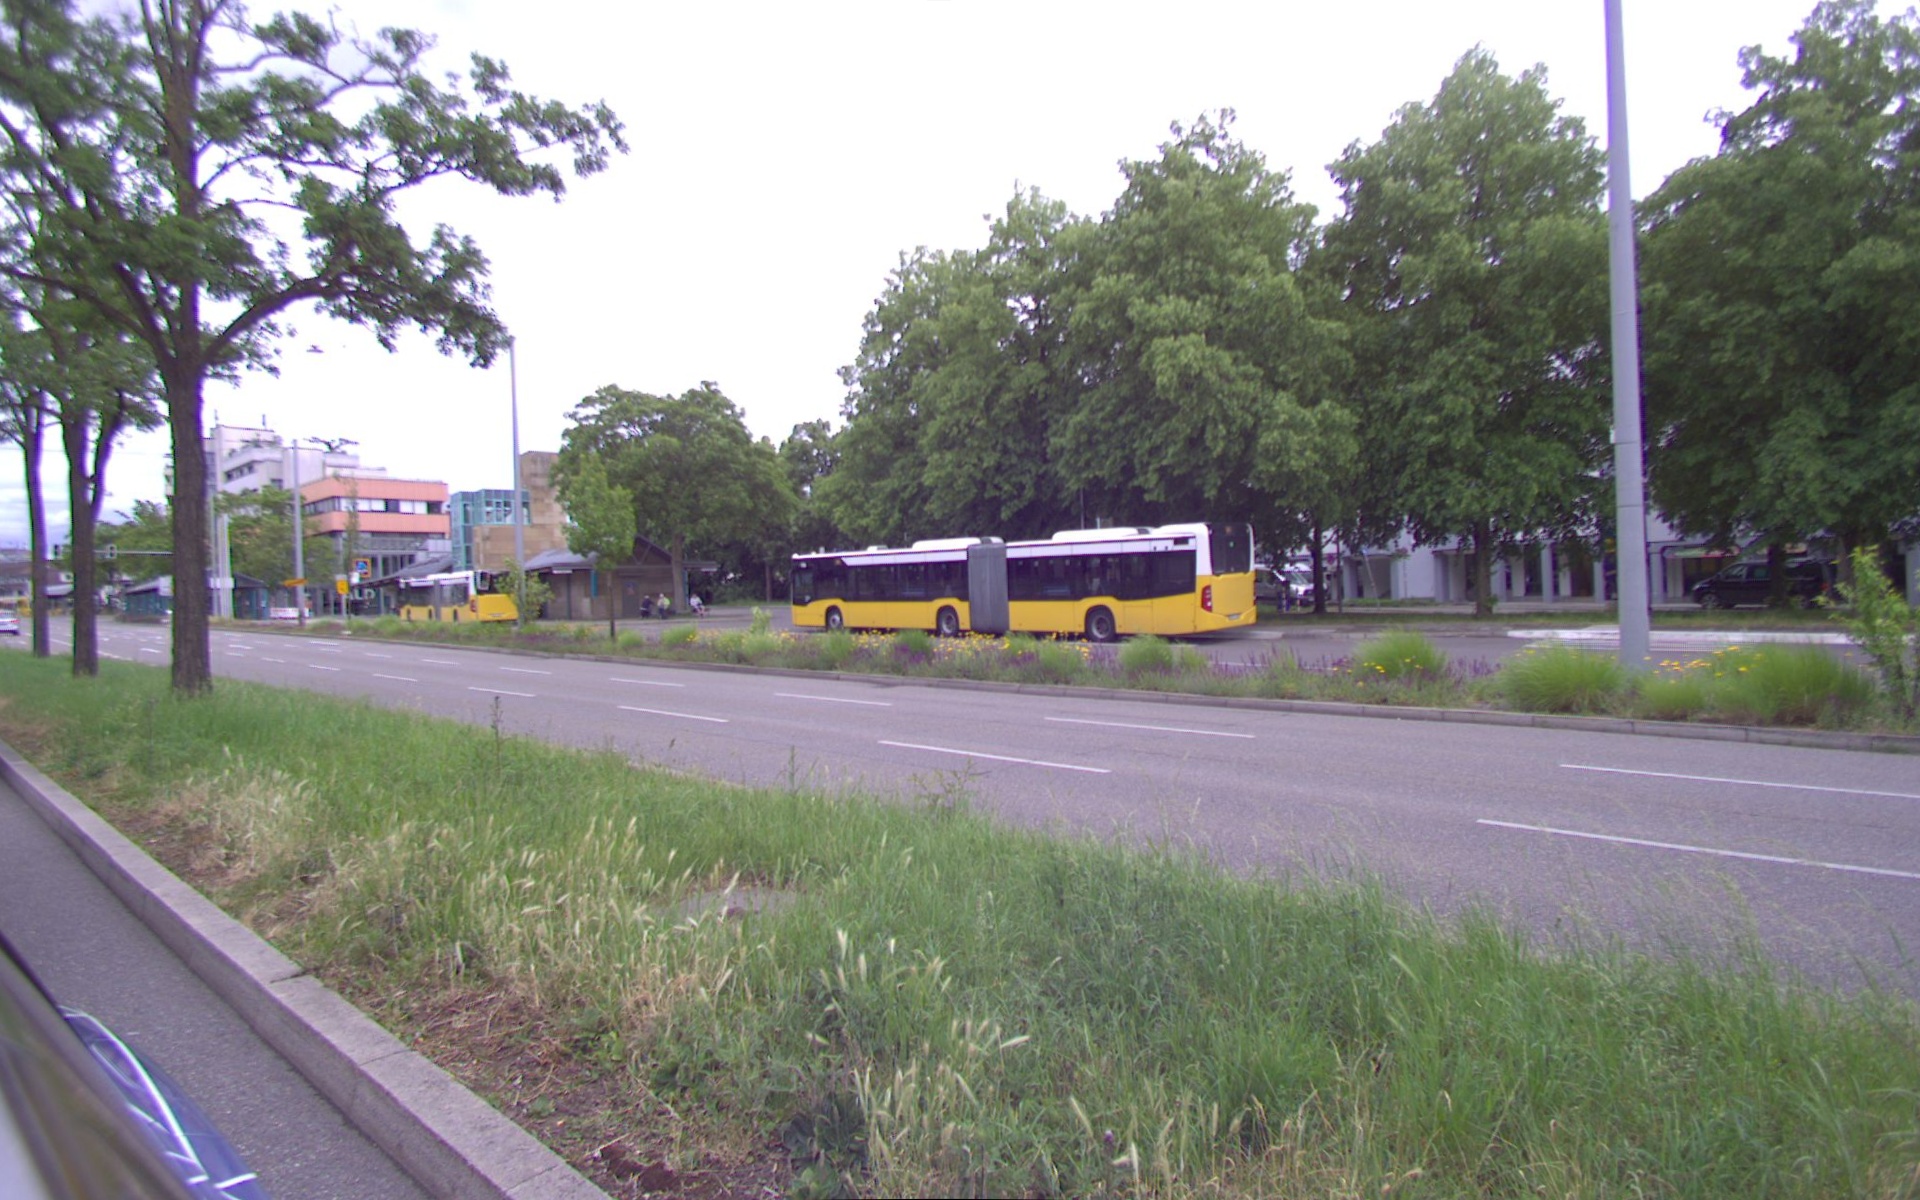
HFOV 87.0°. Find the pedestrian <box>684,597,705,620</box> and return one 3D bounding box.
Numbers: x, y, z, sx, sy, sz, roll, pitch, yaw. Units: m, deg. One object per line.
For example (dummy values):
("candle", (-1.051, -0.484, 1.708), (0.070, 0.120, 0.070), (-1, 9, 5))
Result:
("pedestrian", (-13.912, 0.451, 53.031), (0.924, 1.180, 0.641), (-1, 0, 41))

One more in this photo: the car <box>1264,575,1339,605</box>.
("car", (20.025, -0.582, 59.479), (1.751, 1.652, 4.012), (-1, 0, -31))

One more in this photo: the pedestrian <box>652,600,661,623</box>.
("pedestrian", (-15.659, 0.609, 52.204), (0.361, 1.175, 0.900), (-1, 0, -23))

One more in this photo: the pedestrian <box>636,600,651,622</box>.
("pedestrian", (-16.869, 0.567, 53.940), (0.589, 1.171, 0.745), (-1, 0, -30))

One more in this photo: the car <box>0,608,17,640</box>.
("car", (-61.894, 1.563, 65.010), (4.001, 2.029, 1.703), (-1, 0, 44))

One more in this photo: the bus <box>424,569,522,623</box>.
("bus", (-27.667, -0.153, 57.247), (2.846, 2.830, 9.191), (-1, 0, -40))

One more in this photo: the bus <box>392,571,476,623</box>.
("bus", (-33.362, -0.146, 63.921), (2.846, 3.025, 9.191), (-1, 0, -39))

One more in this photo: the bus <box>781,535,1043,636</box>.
("bus", (-2.007, -0.377, 34.870), (2.848, 3.025, 10.401), (-1, 0, -44))

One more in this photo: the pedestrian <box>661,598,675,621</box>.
("pedestrian", (-15.134, 0.503, 52.417), (0.589, 1.171, 0.745), (-1, 0, -23))

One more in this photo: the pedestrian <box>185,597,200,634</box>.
("pedestrian", (-60.175, 1.201, 79.383), (0.889, 2.809, 1.150), (-1, 0, -36))

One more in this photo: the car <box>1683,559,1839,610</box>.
("car", (31.150, -0.576, 39.477), (1.758, 1.861, 4.429), (-1, 0, -34))

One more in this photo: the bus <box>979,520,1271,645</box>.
("bus", (4.329, -0.392, 28.261), (2.848, 3.025, 7.889), (-1, 0, -44))

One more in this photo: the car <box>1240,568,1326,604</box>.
("car", (16.719, -0.710, 52.561), (1.663, 1.763, 4.010), (-1, 0, -35))
